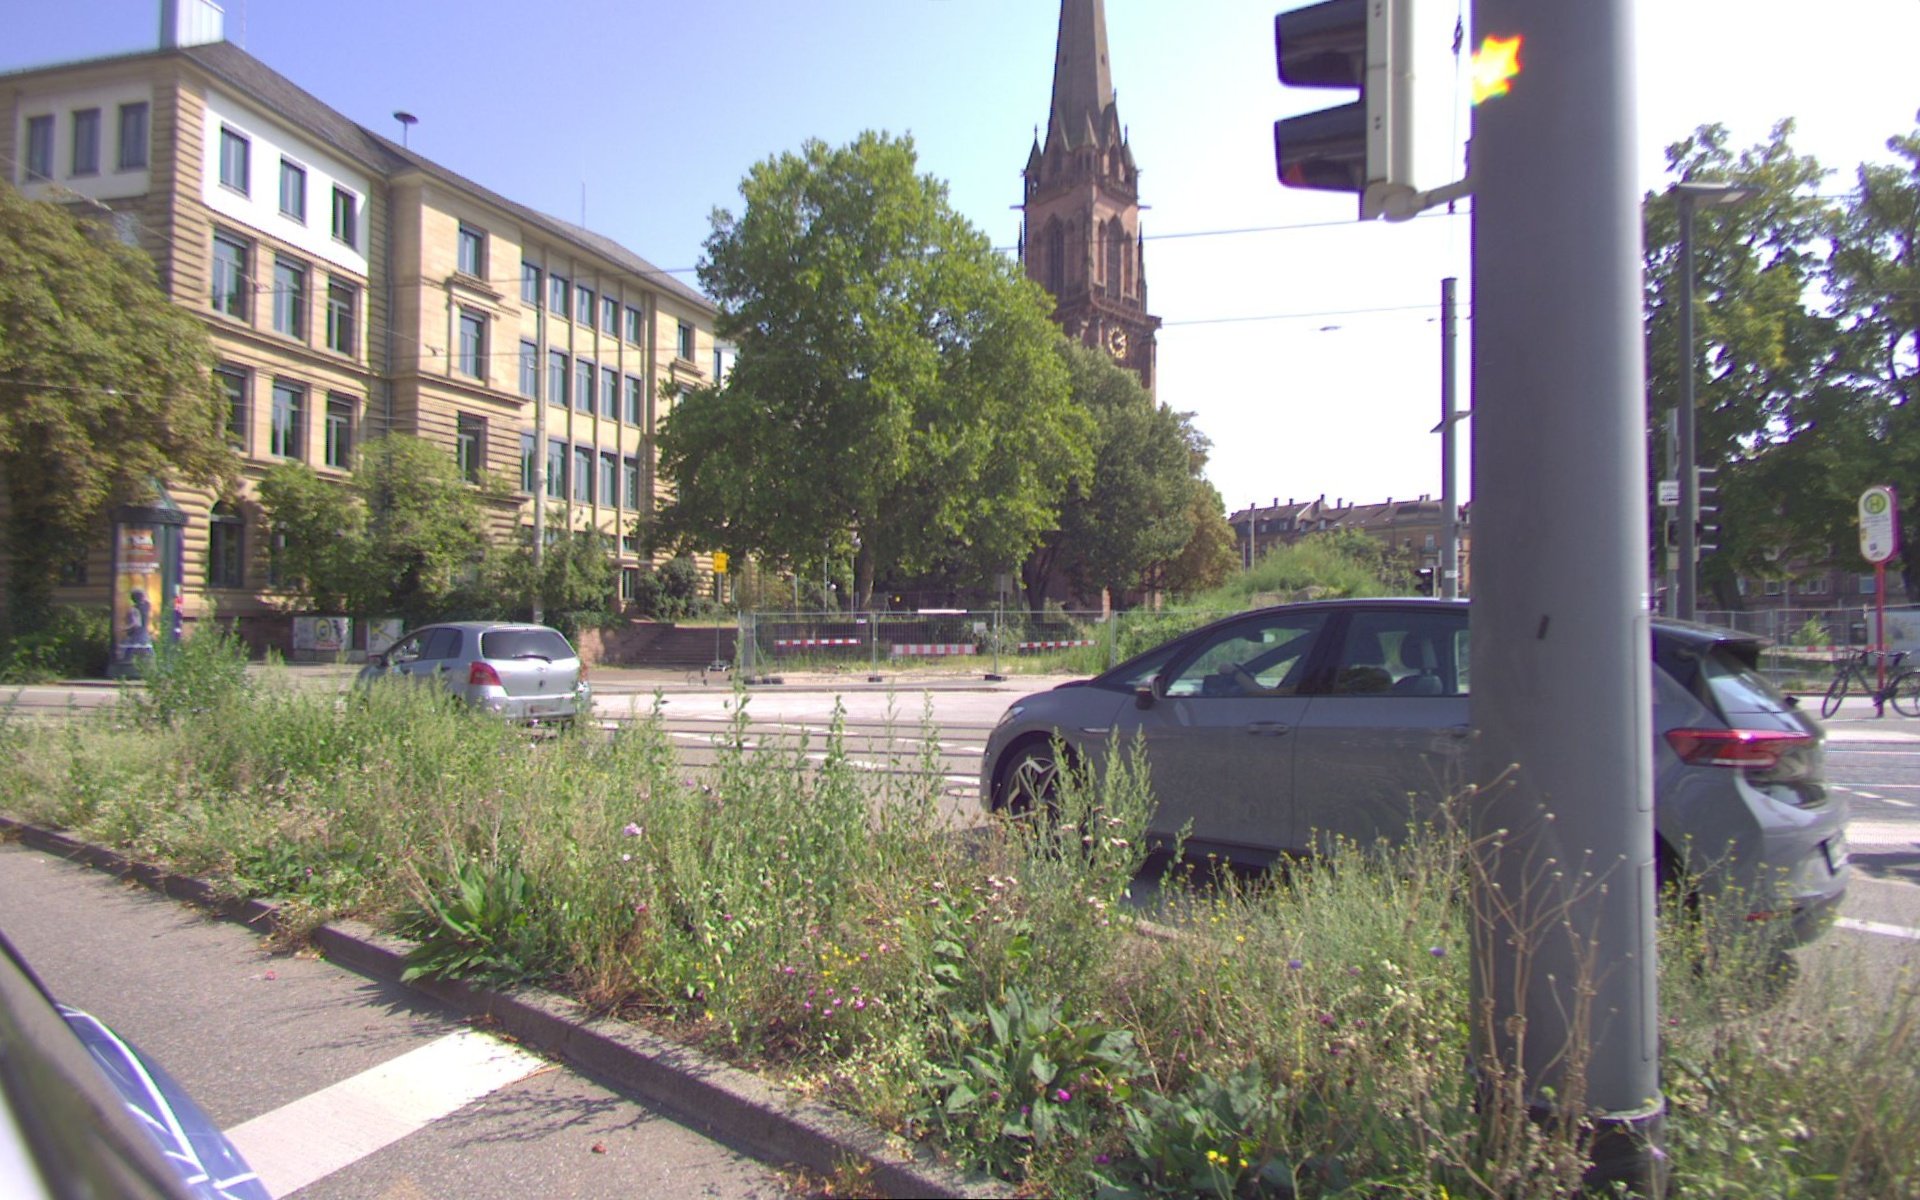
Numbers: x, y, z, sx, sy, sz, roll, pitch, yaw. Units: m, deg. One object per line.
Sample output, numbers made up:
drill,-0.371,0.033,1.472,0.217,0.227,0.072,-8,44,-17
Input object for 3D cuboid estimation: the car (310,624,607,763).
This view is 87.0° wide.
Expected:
car,-6.626,1.108,13.211,4.316,1.542,1.636,-1,-2,36

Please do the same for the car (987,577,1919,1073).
car,2.206,0.769,5.215,1.676,1.542,4.186,2,-3,-44

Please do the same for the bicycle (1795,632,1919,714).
bicycle,14.051,1.107,15.597,1.689,1.232,0.606,-1,-2,15

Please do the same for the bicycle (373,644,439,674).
bicycle,-17.921,1.902,32.806,0.741,0.901,2.175,0,-2,7
